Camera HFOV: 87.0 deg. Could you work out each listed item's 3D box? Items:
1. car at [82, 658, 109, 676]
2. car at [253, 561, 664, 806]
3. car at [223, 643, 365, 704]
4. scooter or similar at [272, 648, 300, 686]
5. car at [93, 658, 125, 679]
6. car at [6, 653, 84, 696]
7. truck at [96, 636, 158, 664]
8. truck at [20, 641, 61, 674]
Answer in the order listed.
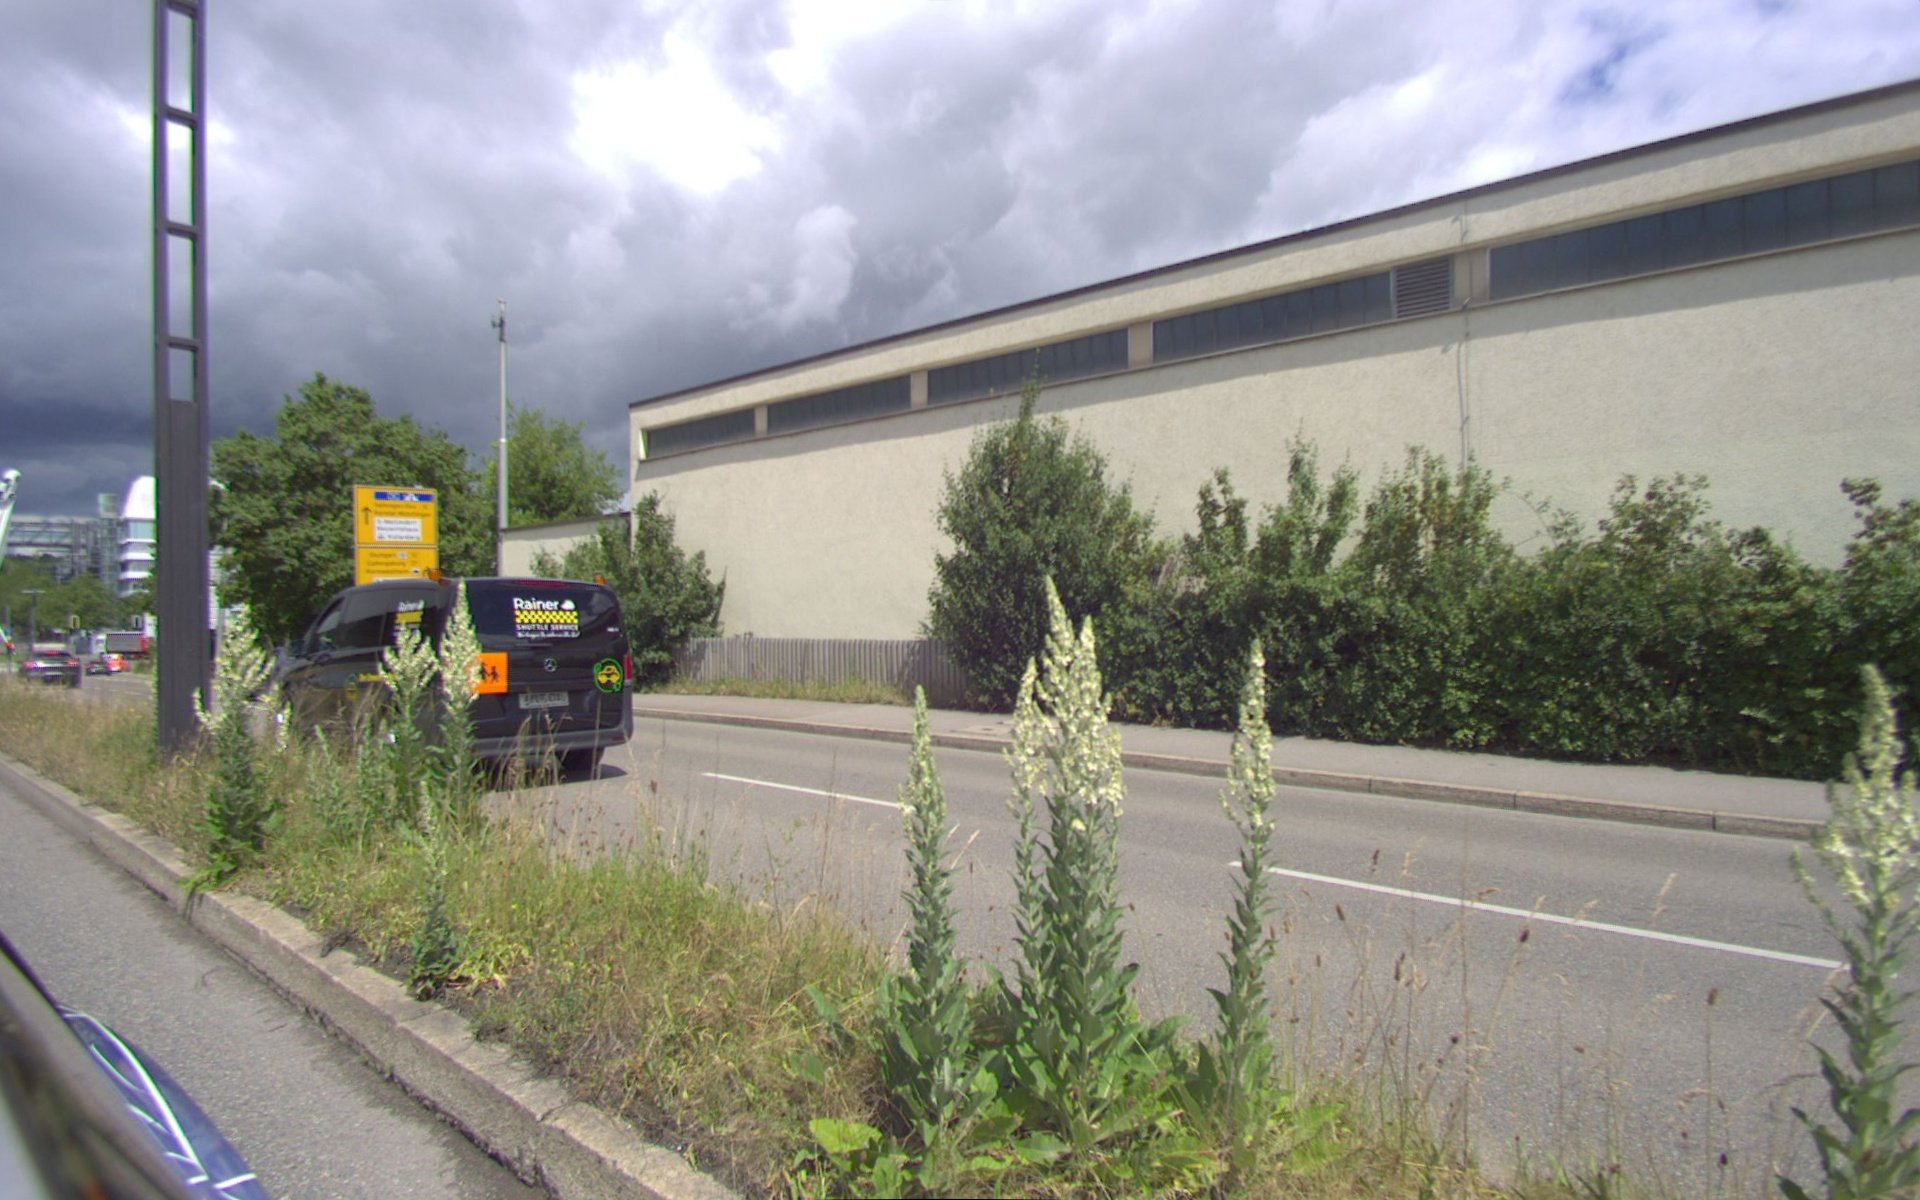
[{"bbox_3d":[-79.696,6.152,93.252,1.817,1.519,4.566,0,-3,-42],"label":"car"},{"bbox_3d":[-5.240,0.717,10.229,4.865,1.903,1.973,-2,-1,41],"label":"car"},{"bbox_3d":[-15.432,1.646,23.370,3.998,1.285,1.736,-2,-3,41],"label":"car"},{"bbox_3d":[-24.083,2.396,36.150,0.485,1.314,1.644,-3,-1,-44],"label":"scooter or similar"},{"bbox_3d":[-90.030,7.227,107.158,1.966,1.973,4.641,-1,-2,-32],"label":"car"},{"bbox_3d":[-37.614,3.043,41.584,4.441,1.639,1.858,-3,-3,41],"label":"car"},{"bbox_3d":[-122.283,7.305,148.542,8.908,3.594,2.349,-4,-1,16],"label":"truck"},{"bbox_3d":[-92.529,5.818,101.956,2.820,2.879,9.389,-1,-4,-41],"label":"truck"}]
